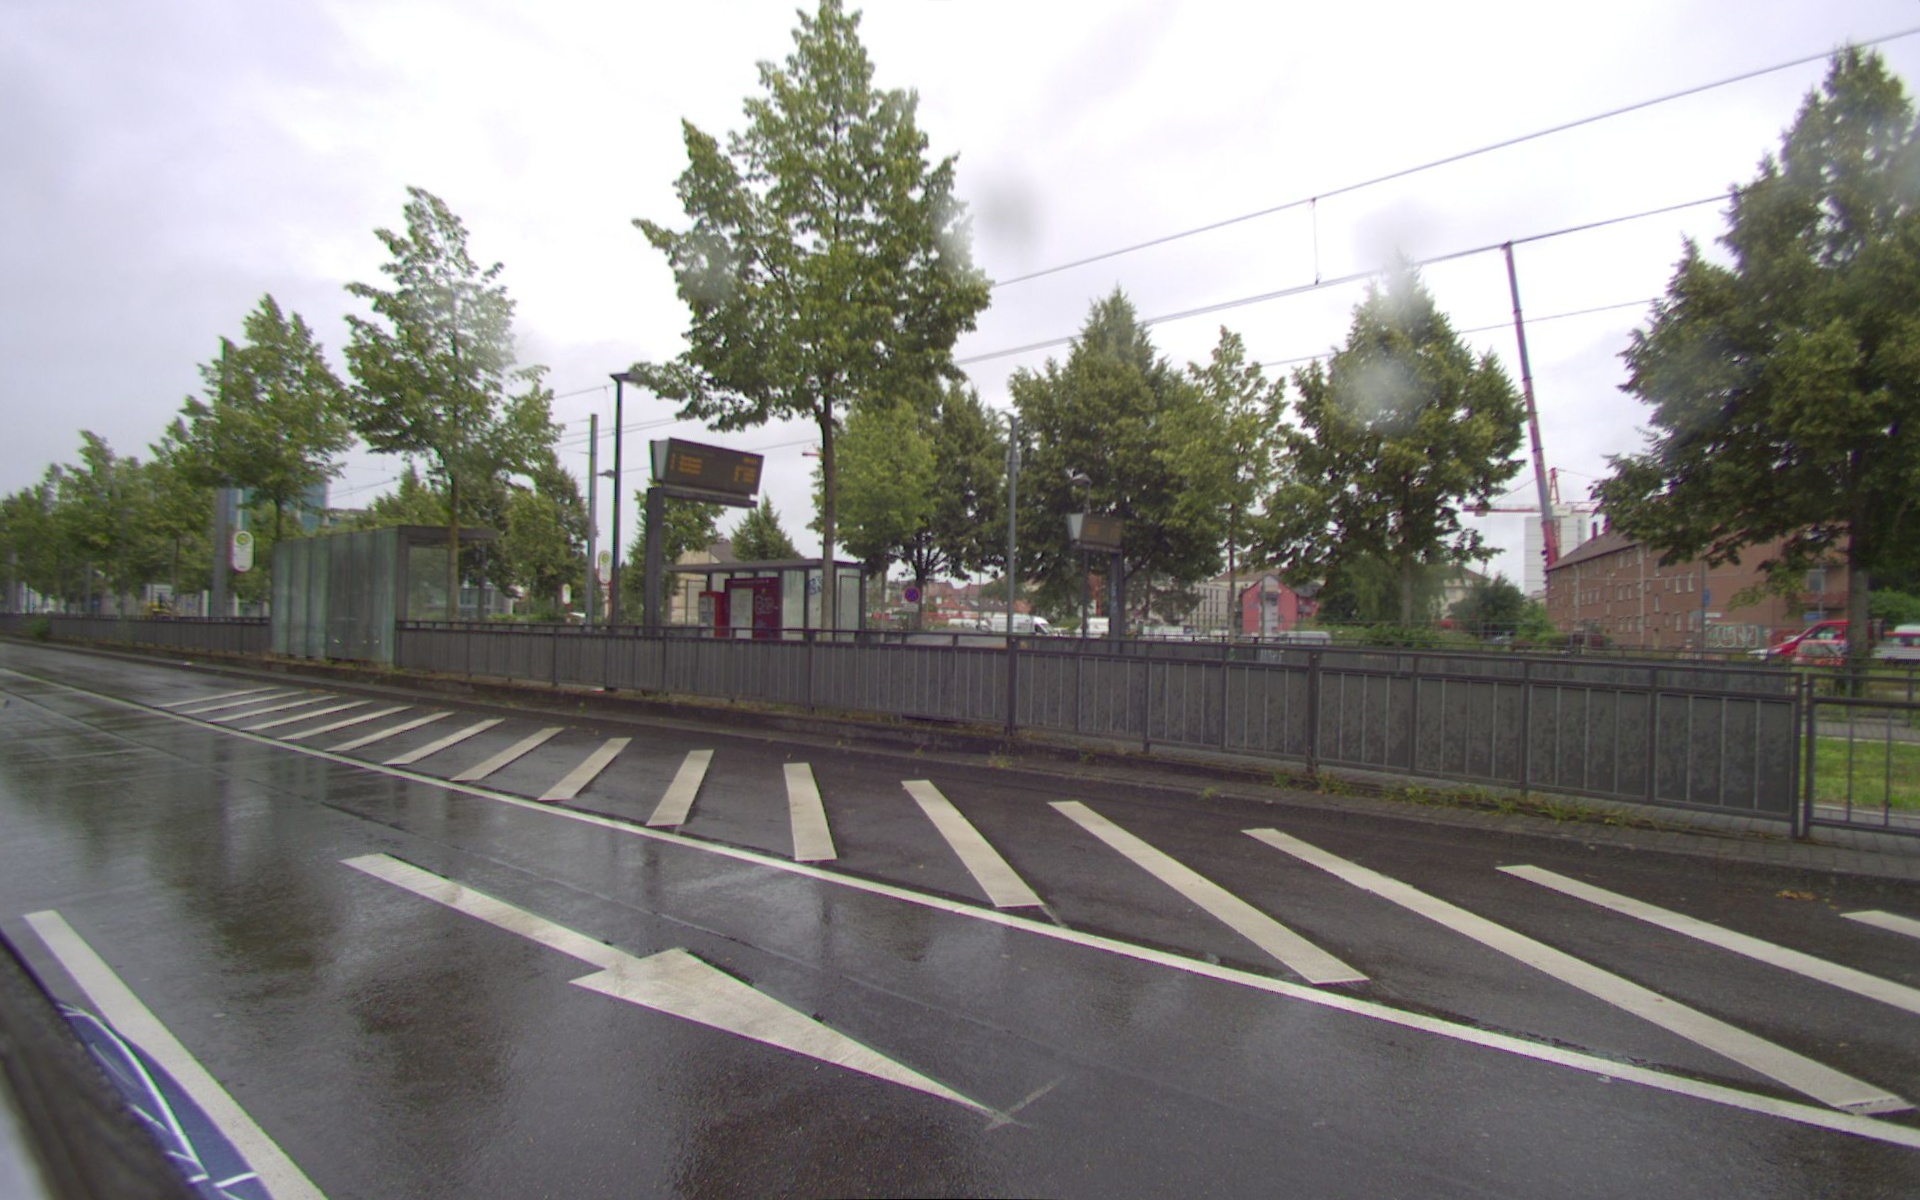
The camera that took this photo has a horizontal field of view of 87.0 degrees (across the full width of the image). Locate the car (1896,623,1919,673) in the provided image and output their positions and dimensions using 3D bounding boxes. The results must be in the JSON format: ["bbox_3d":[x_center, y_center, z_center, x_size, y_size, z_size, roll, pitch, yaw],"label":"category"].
[{"bbox_3d":[45.923,2.173,44.983,1.597,2.296,6.114,2,-3,-37],"label":"car"}]

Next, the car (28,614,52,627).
[{"bbox_3d":[-140.151,3.119,154.153,3.995,1.759,1.974,0,0,38],"label":"car"}]

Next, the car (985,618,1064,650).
[{"bbox_3d":[5.406,2.830,85.744,6.735,2.480,1.975,0,0,37],"label":"car"}]

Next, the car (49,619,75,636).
[{"bbox_3d":[-107.522,3.269,121.157,3.998,2.029,1.738,-1,-2,41],"label":"car"}]

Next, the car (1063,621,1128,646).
[{"bbox_3d":[11.863,2.916,88.708,5.412,2.067,1.976,0,0,37],"label":"car"}]

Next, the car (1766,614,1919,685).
[{"bbox_3d":[33.491,1.769,36.679,1.597,2.489,6.500,2,-2,-39],"label":"car"}]

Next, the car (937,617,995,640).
[{"bbox_3d":[0.609,2.990,108.307,6.123,2.323,1.978,0,0,32],"label":"car"}]

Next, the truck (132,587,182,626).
[{"bbox_3d":[-81.715,0.582,102.905,9.184,3.806,2.657,0,0,43],"label":"truck"}]

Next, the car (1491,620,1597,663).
[{"bbox_3d":[35.954,2.517,62.391,5.482,2.471,1.976,0,0,36],"label":"car"}]

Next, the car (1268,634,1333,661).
[{"bbox_3d":[26.190,3.651,77.957,4.415,1.891,1.855,0,0,34],"label":"car"}]
